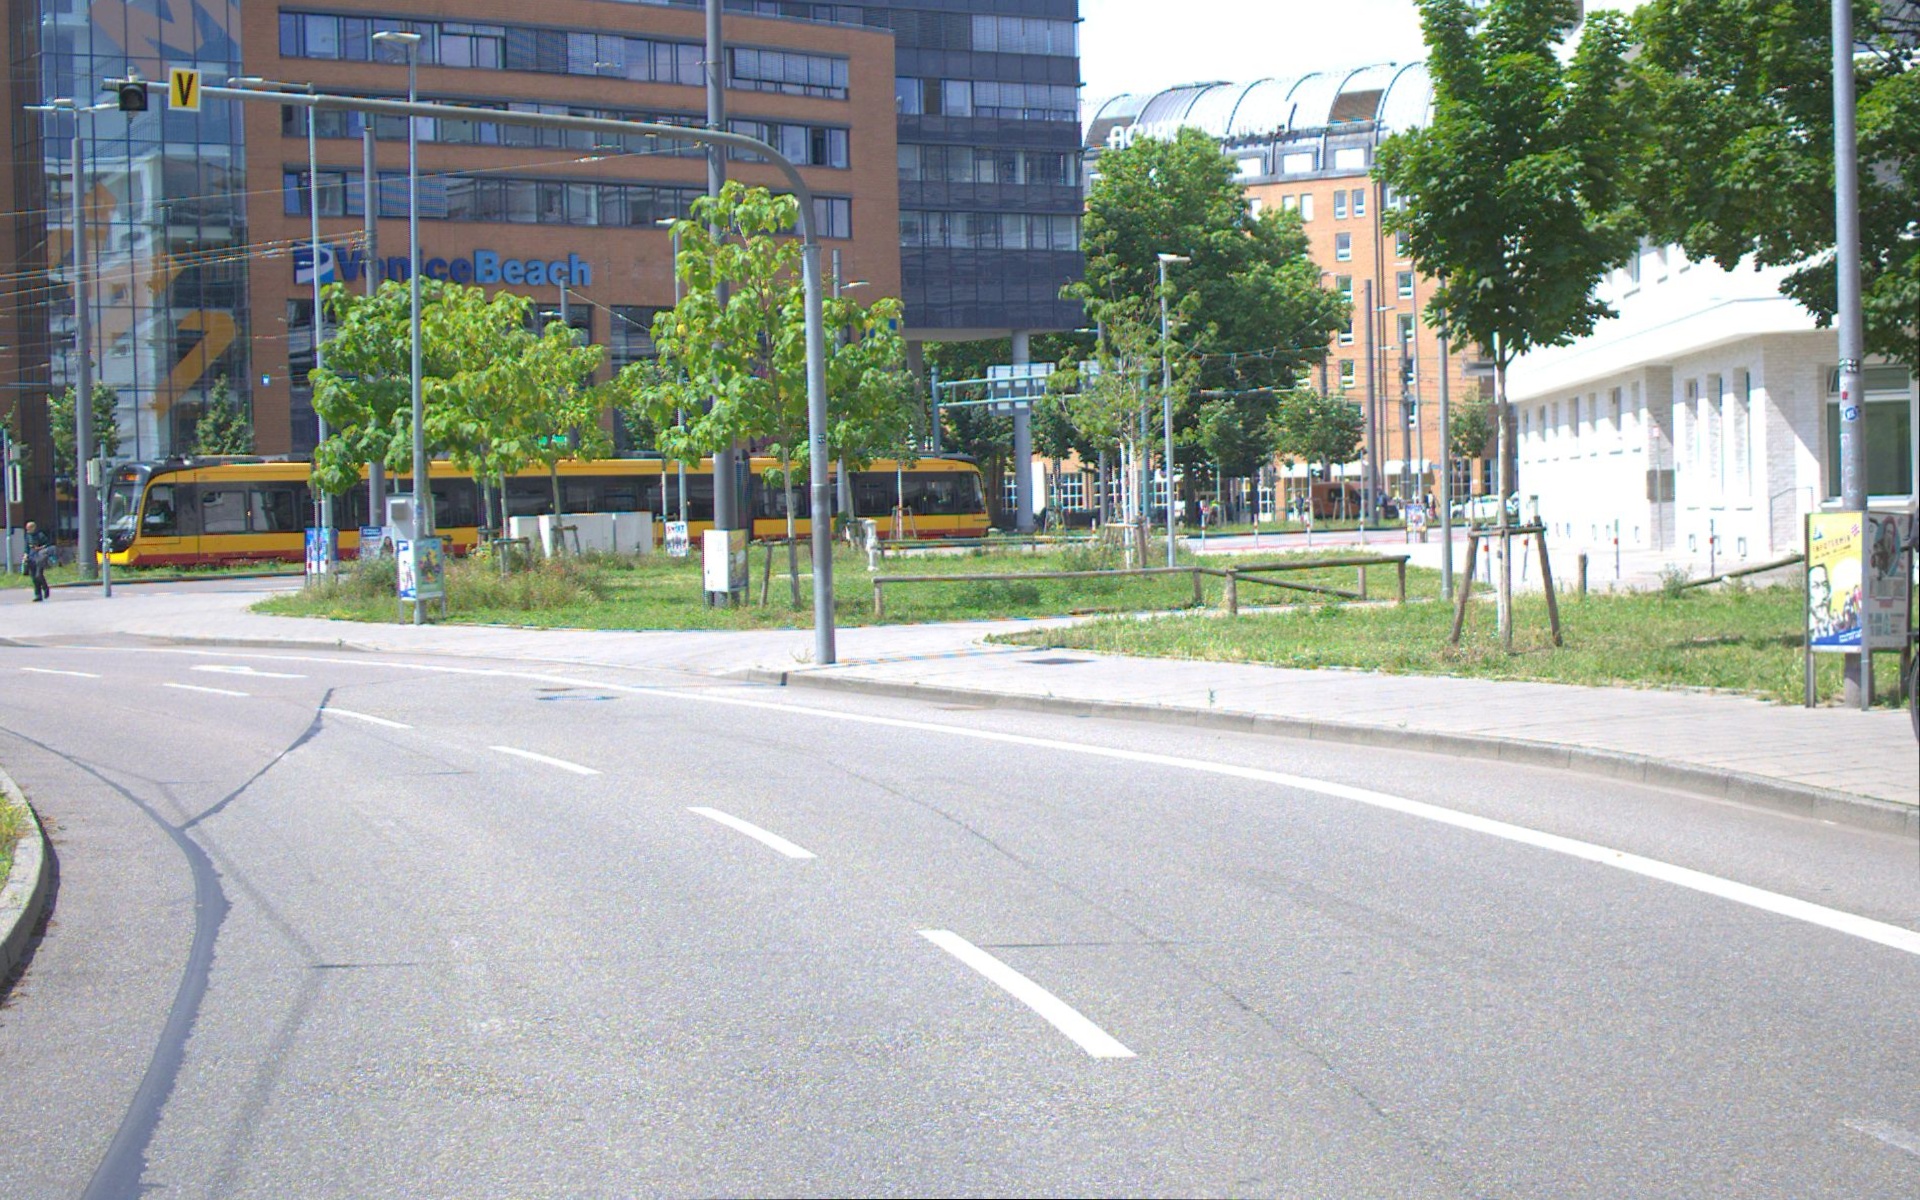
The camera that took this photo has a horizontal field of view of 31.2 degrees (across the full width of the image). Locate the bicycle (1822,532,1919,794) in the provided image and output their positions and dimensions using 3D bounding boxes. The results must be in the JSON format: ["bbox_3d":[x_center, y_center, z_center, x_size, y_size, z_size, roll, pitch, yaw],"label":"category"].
[{"bbox_3d":[5.009,0.310,16.846,0.693,1.238,1.840,-4,3,-13],"label":"bicycle"}]

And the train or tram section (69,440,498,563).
[{"bbox_3d":[-20.696,-3.036,106.378,13.465,3.587,3.225,-2,2,-45],"label":"train or tram section"}]

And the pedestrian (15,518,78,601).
[{"bbox_3d":[-19.324,-0.858,72.729,0.917,1.696,0.807,-1,2,28],"label":"pedestrian"}]

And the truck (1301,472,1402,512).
[{"bbox_3d":[20.631,-5.674,181.313,1.994,2.078,5.522,-1,2,-37],"label":"truck"}]

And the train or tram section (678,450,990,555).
[{"bbox_3d":[-4.352,-3.479,123.312,3.063,3.608,12.604,1,2,44],"label":"train or tram section"}]

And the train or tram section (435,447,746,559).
[{"bbox_3d":[-12.229,-3.235,115.028,3.063,3.591,10.965,1,2,43],"label":"train or tram section"}]

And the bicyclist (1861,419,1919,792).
[{"bbox_3d":[5.001,0.011,16.809,0.694,1.818,0.956,-4,2,-13],"label":"bicyclist"}]
